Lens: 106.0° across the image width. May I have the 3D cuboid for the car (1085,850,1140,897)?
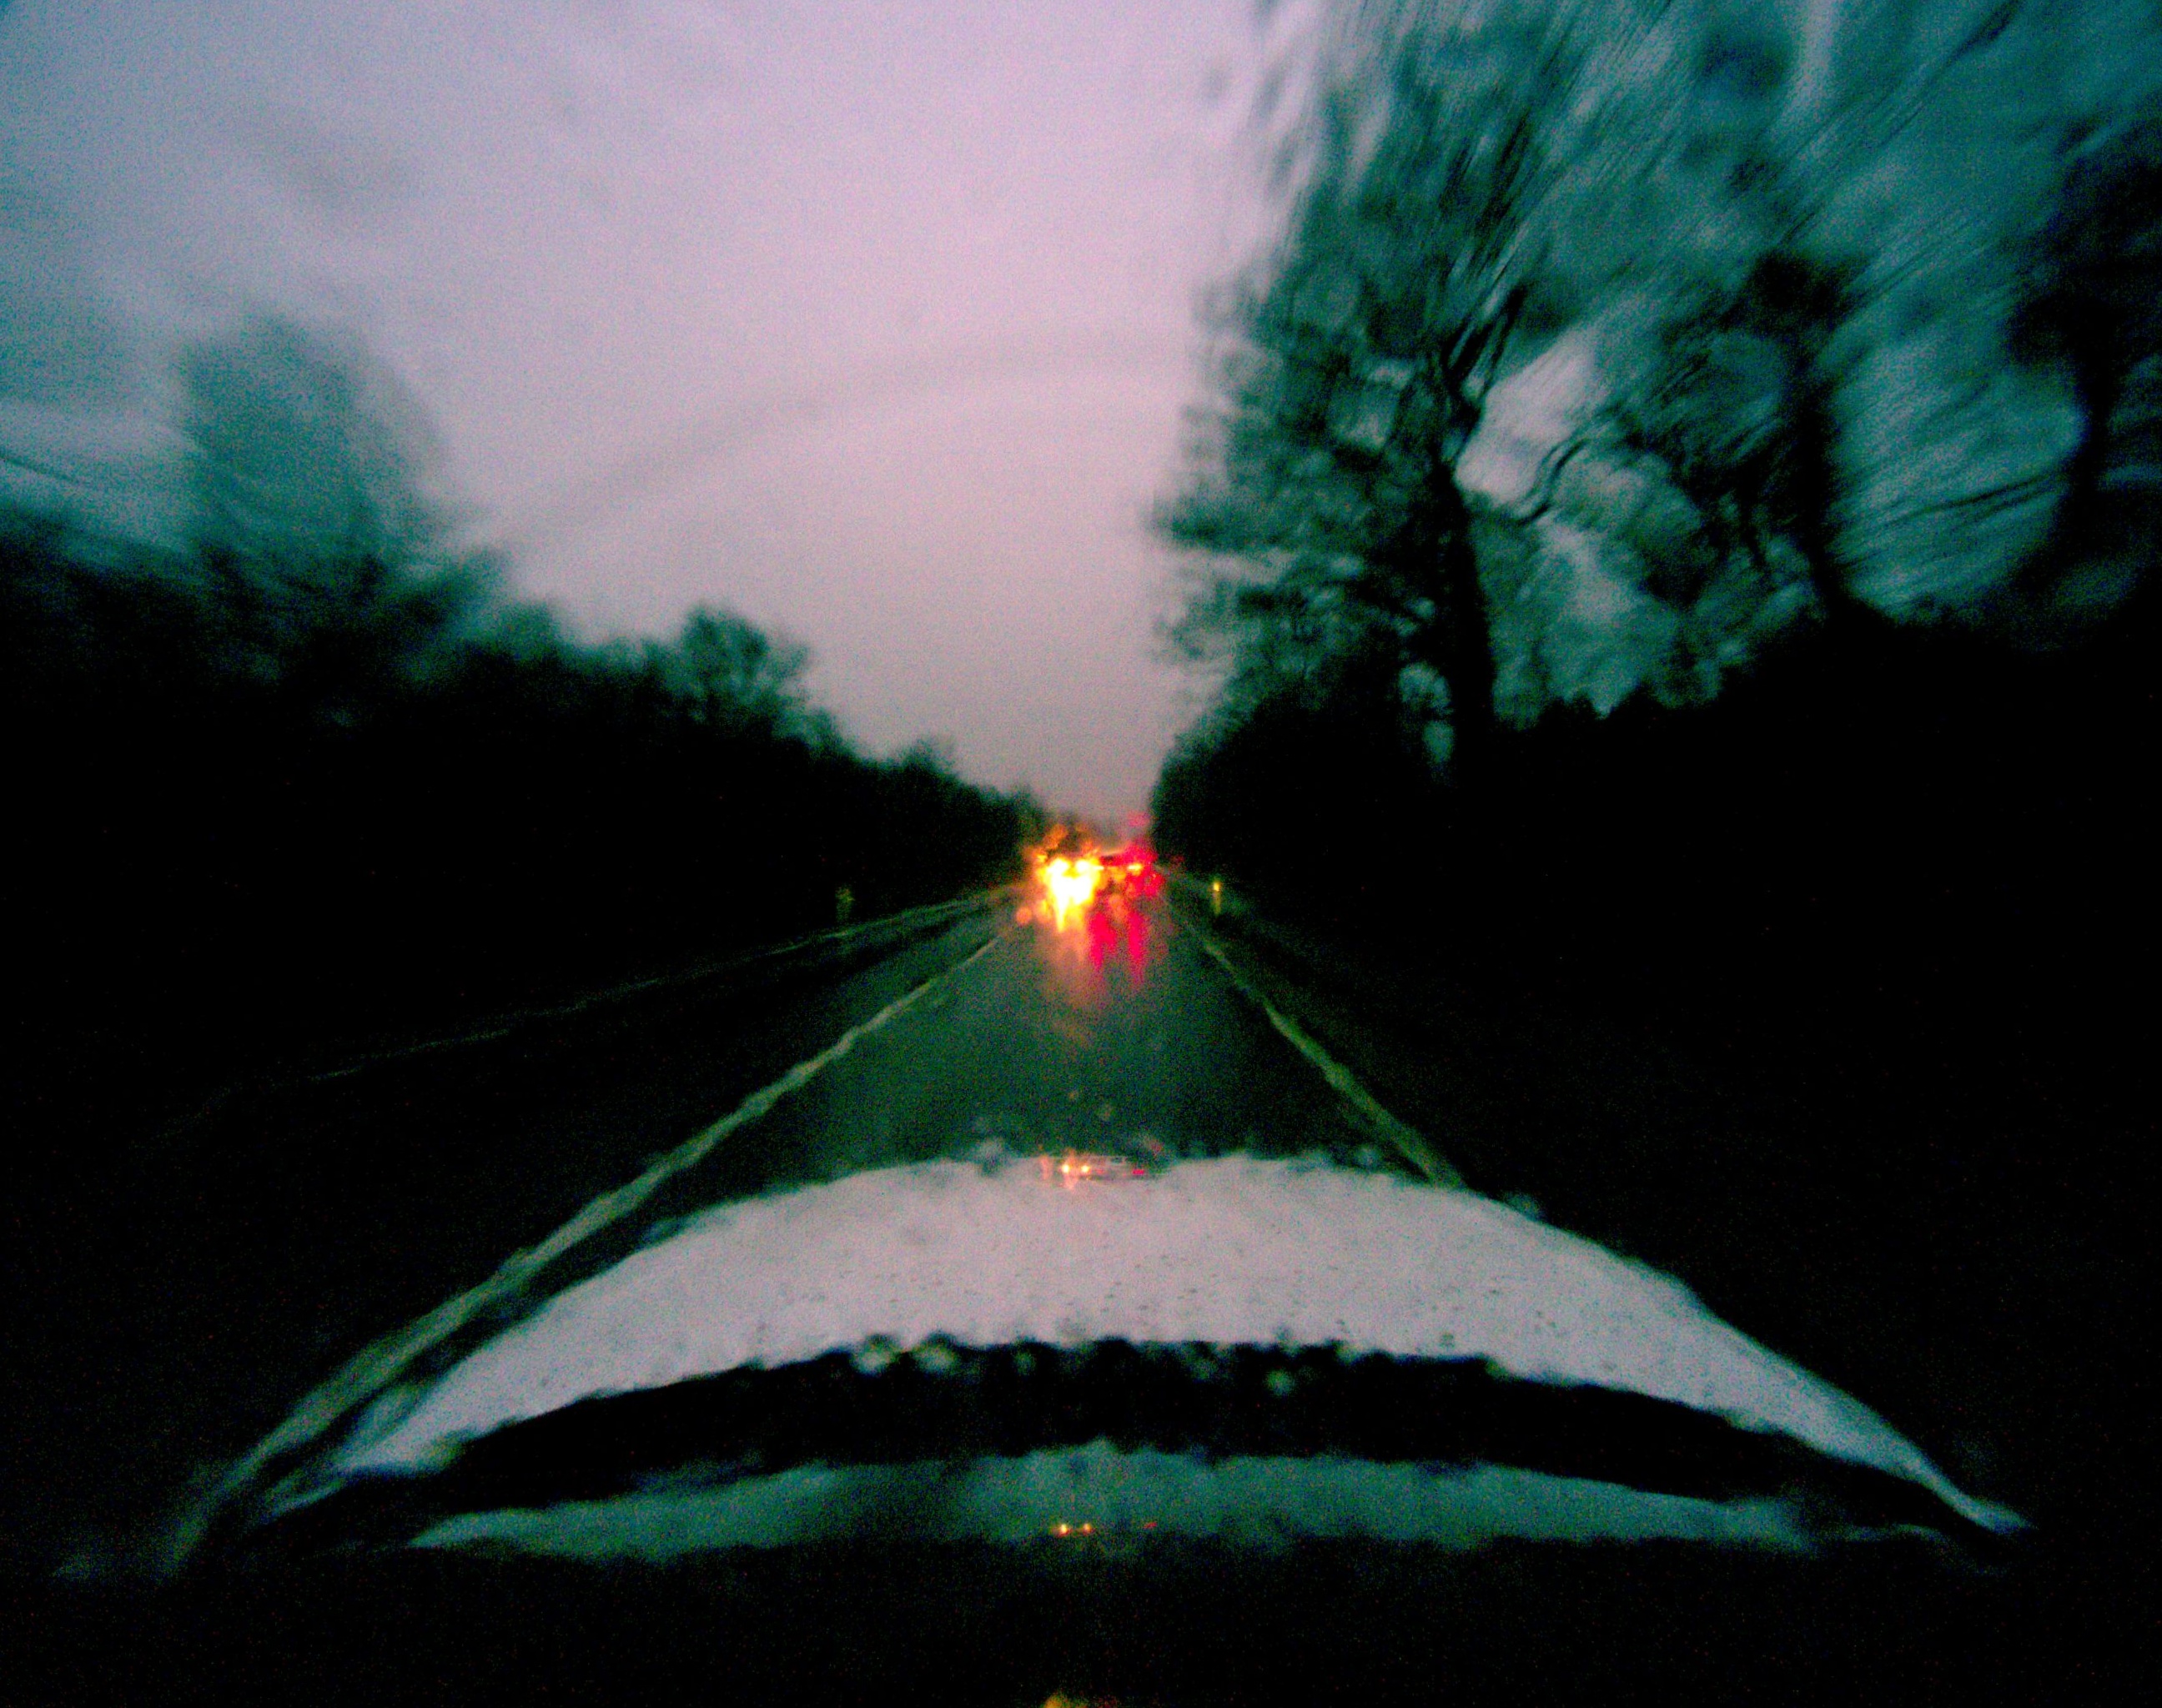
[{"bbox_3d":[1.077,0.615,27.098,1.672,1.389,4.101,-1,0,3],"label":"car"}]

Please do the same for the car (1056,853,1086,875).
[{"bbox_3d":[-0.648,0.706,58.538,1.806,1.438,4.102,-1,0,4],"label":"car"}]
